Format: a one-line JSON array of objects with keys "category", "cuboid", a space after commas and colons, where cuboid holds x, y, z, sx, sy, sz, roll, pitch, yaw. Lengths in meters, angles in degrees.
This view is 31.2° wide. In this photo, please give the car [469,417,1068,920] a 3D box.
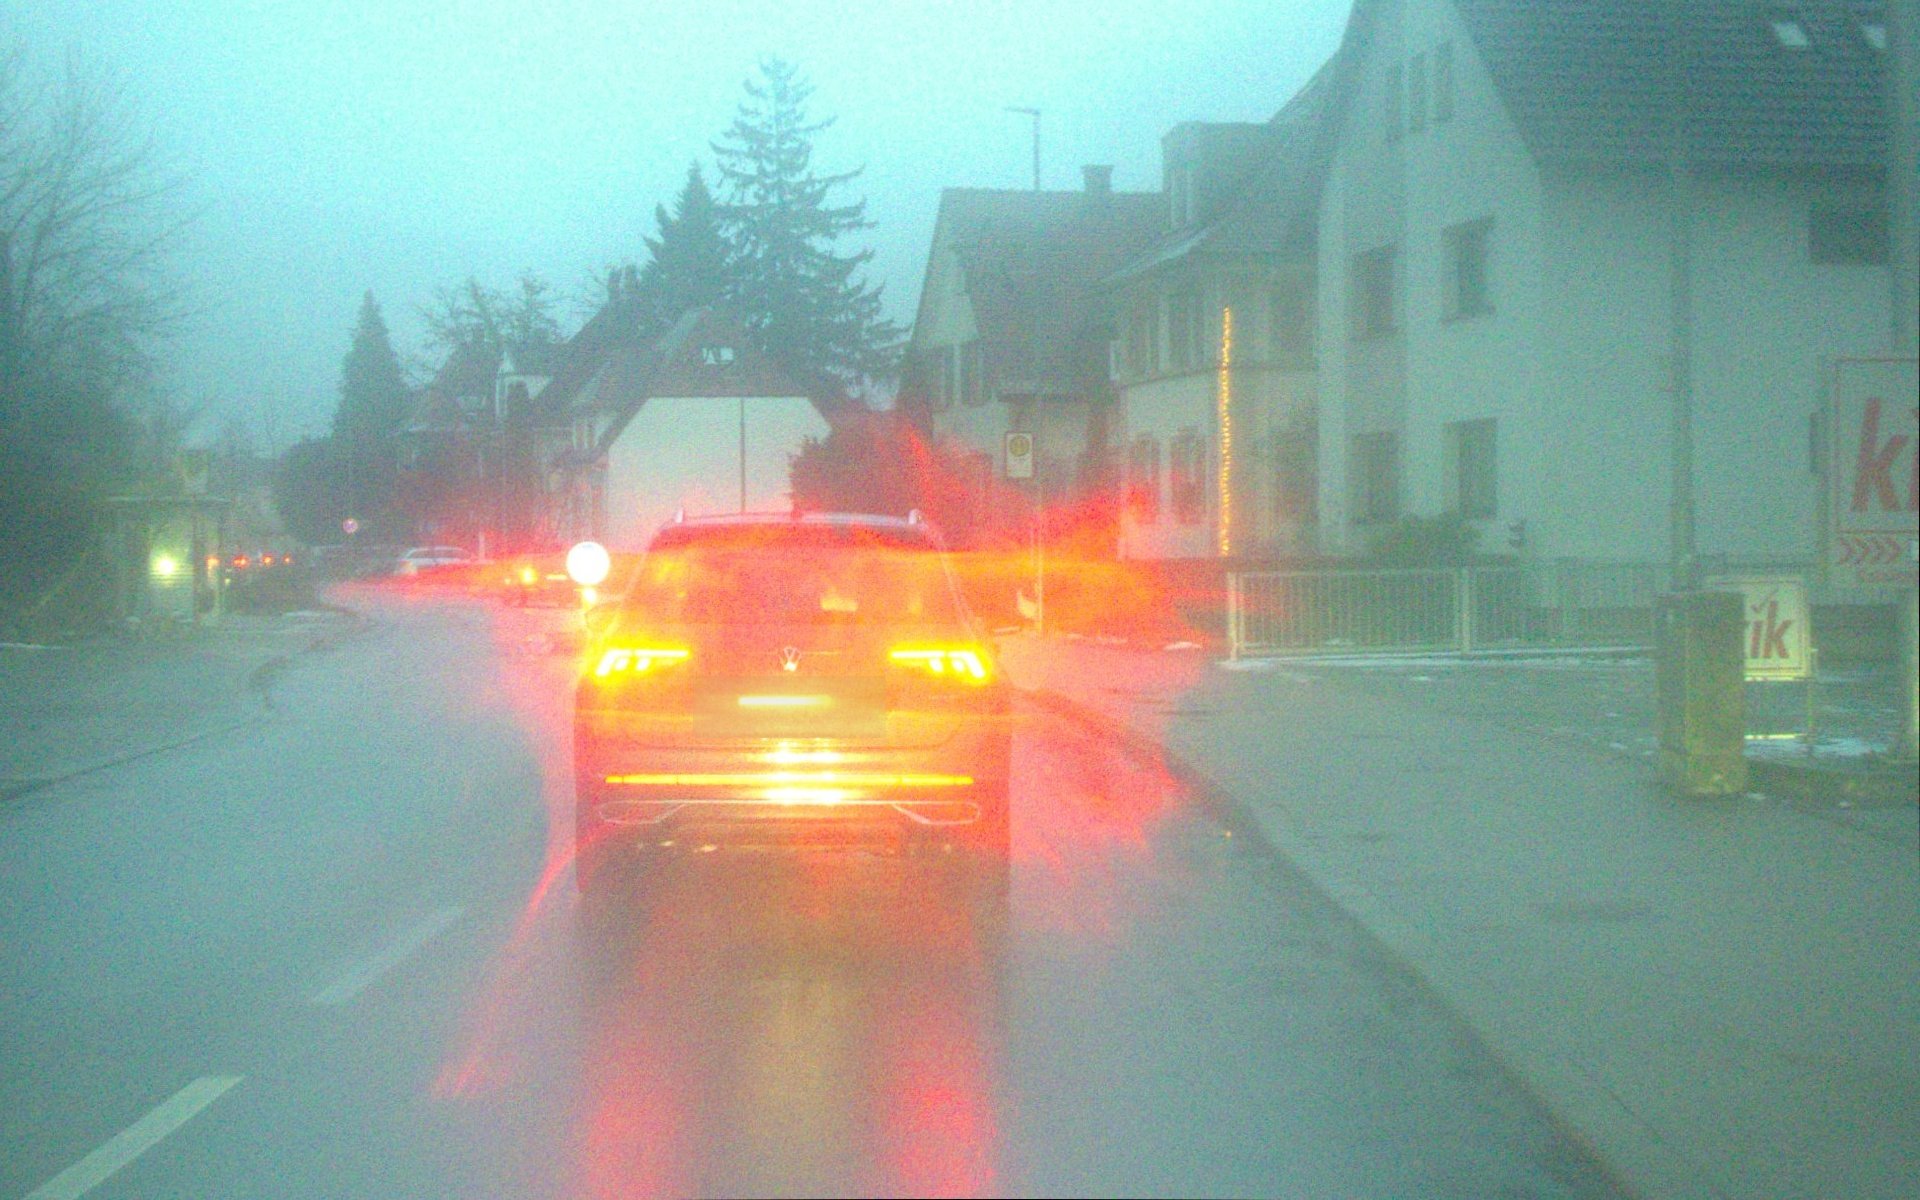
[{"category": "car", "cuboid": [-0.805, 0.247, 15.883, 2.309, 1.932, 5.018, -1, 0, -1]}]

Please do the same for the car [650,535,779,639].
[{"category": "car", "cuboid": [-4.839, -0.256, 67.070, 2.309, 1.932, 5.019, -1, 0, -6]}]

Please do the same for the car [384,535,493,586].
[{"category": "car", "cuboid": [-21.252, -1.597, 140.081, 4.245, 2.007, 1.811, -1, 1, -13]}]

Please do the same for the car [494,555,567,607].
[{"category": "car", "cuboid": [-11.536, -0.536, 92.191, 1.842, 1.327, 3.939, -1, 1, -8]}]

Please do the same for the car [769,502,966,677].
[{"category": "car", "cuboid": [-0.936, -0.143, 34.698, 1.857, 1.641, 4.000, 1, 1, -2]}]
